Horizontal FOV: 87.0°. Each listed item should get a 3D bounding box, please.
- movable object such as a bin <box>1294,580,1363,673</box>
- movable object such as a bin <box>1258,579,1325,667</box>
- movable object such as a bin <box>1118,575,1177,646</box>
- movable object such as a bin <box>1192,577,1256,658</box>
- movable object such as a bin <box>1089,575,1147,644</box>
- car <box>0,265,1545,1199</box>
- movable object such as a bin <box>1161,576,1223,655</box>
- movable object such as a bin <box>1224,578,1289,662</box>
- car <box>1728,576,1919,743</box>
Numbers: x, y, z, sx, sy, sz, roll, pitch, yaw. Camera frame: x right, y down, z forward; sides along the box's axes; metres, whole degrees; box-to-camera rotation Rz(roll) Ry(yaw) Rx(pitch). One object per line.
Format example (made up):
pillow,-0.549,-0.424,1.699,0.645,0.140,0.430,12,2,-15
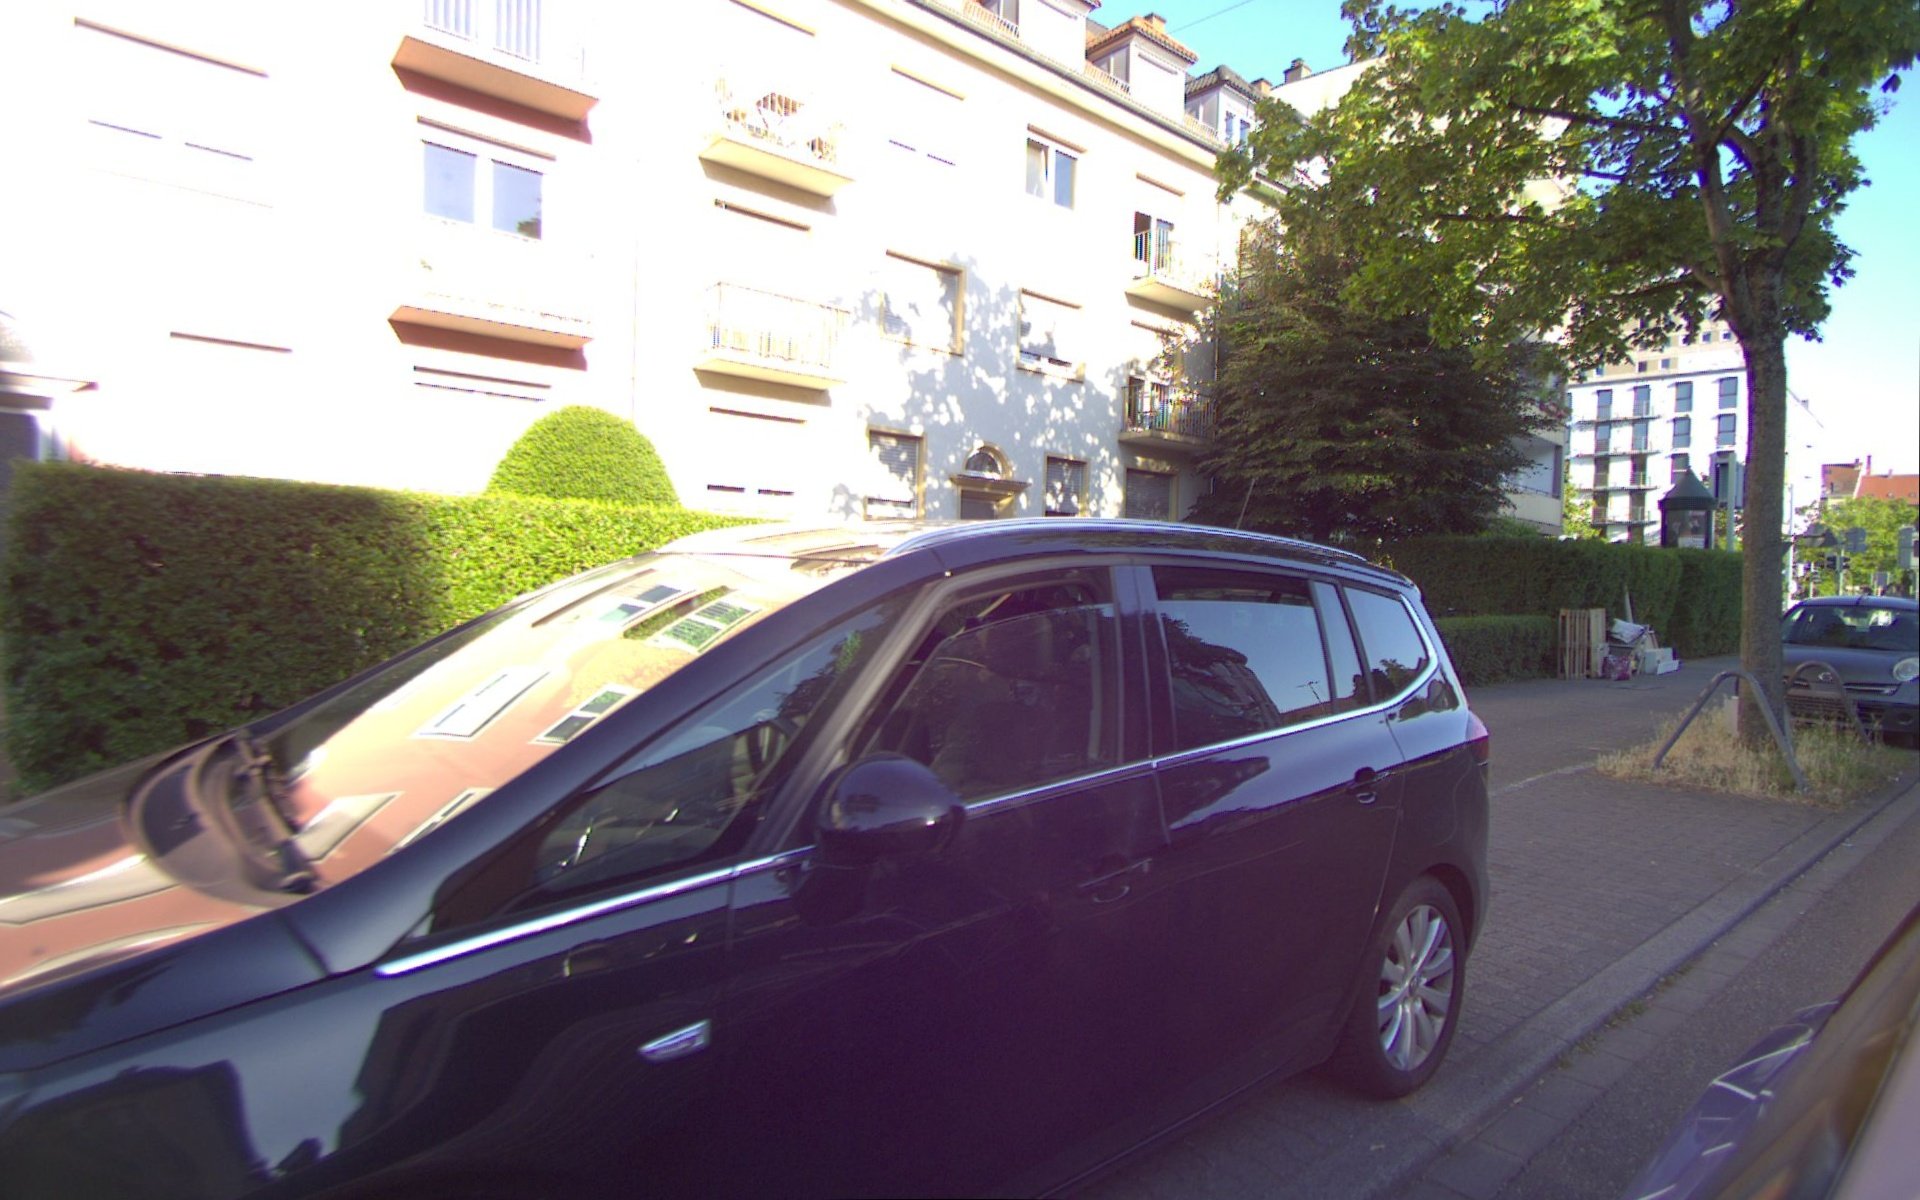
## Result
movable object such as a bin,5.176,0.355,14.221,0.813,1.255,0.554,1,1,-40
movable object such as a bin,4.825,0.323,14.726,0.813,1.236,0.554,1,1,-40
movable object such as a bin,3.118,0.173,16.832,0.813,1.137,0.554,1,1,-40
movable object such as a bin,4.094,0.265,15.680,0.813,1.209,0.554,1,1,-40
movable object such as a bin,2.701,0.151,17.270,0.813,1.137,0.554,1,1,-40
car,-0.269,0.503,2.634,4.214,1.671,1.736,1,1,-40
movable object such as a bin,3.714,0.242,16.178,0.813,1.209,0.554,1,1,-40
movable object such as a bin,4.455,0.291,15.205,0.813,1.217,0.554,1,1,-40
car,10.182,0.571,11.333,3.581,1.570,1.736,1,1,-40
